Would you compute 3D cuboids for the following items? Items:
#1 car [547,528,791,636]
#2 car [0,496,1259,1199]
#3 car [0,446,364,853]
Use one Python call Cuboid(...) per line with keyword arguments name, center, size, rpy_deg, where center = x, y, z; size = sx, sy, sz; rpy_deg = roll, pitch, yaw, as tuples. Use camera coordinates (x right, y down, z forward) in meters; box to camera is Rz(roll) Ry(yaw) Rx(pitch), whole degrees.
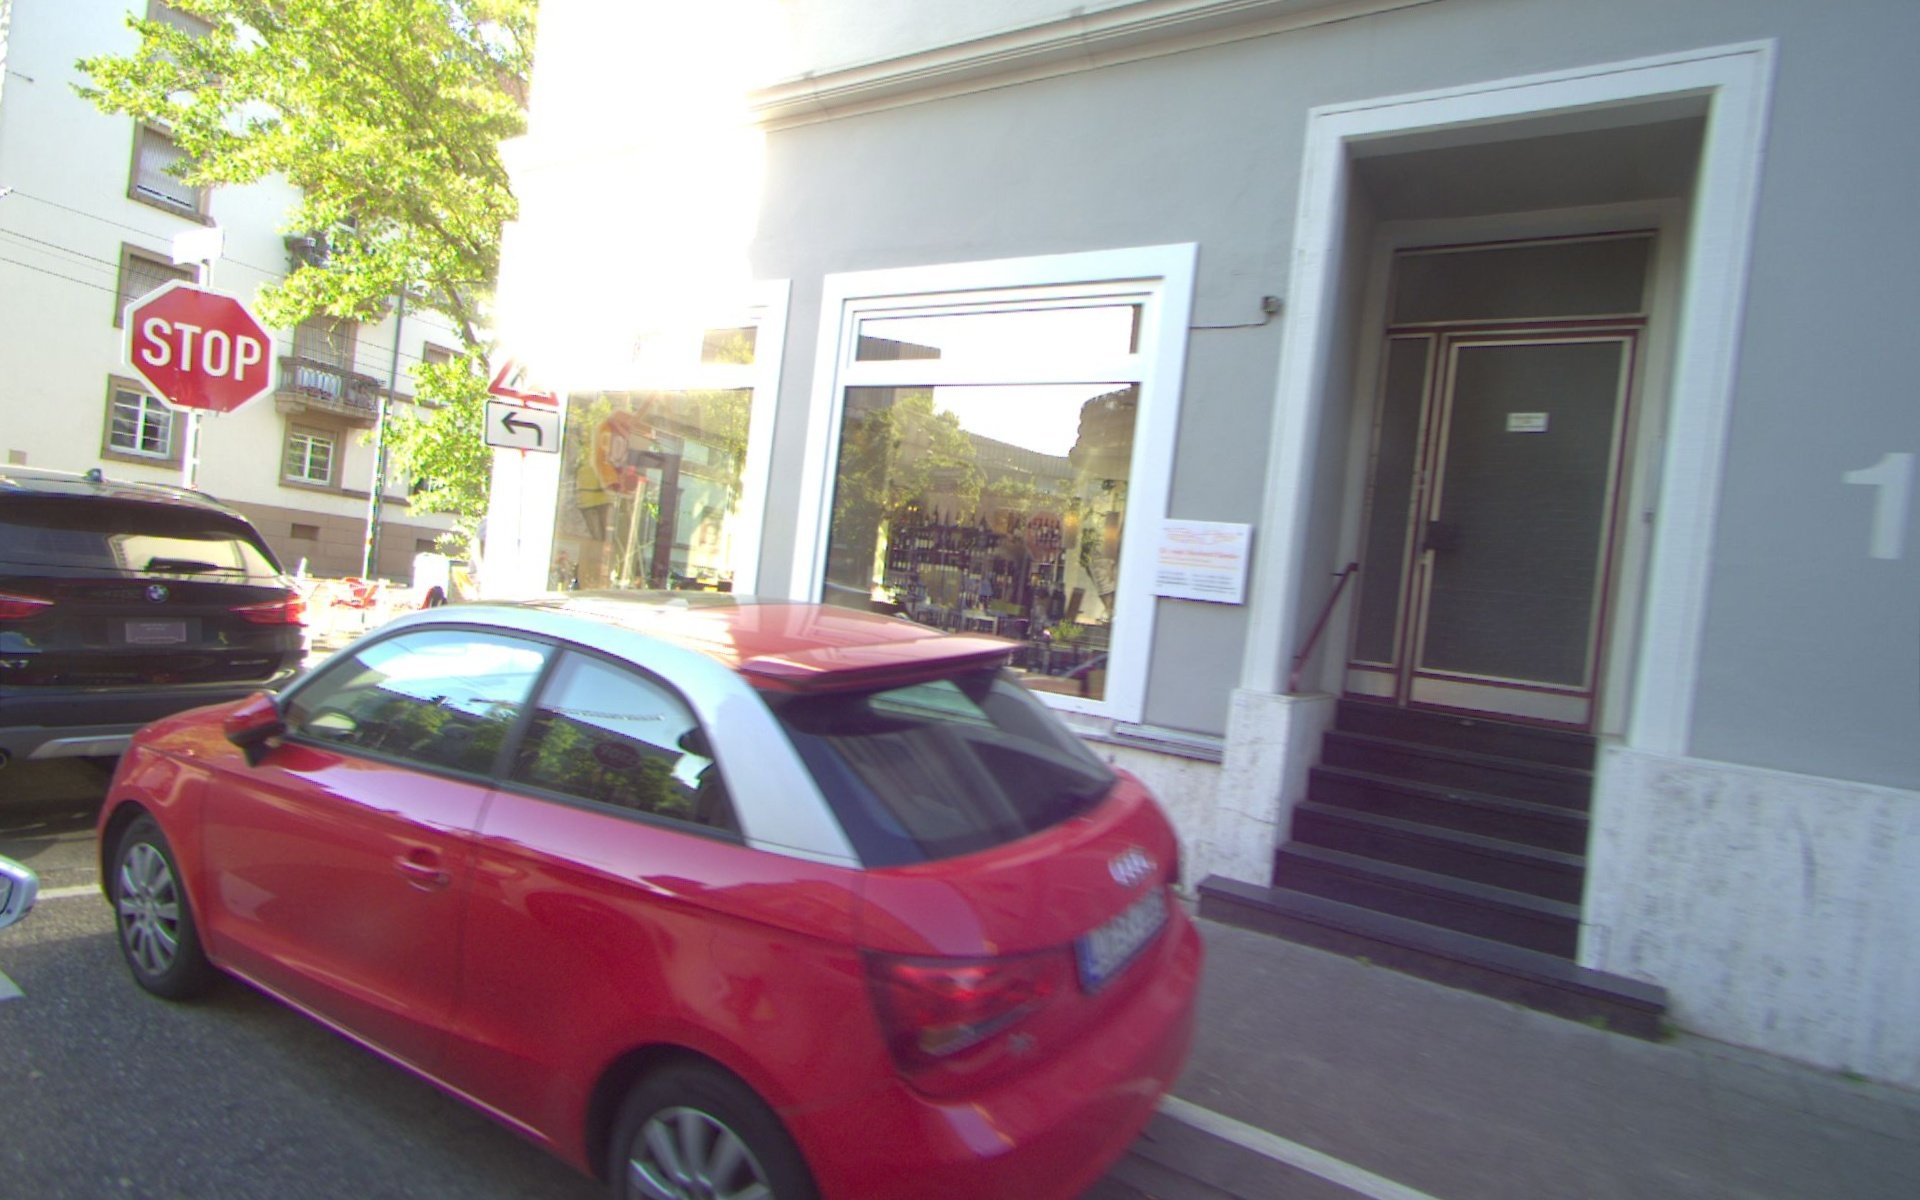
Cuboid(name="car", center=(-5.454, -0.331, 19.161), size=(4.058, 1.576, 1.619), rpy_deg=(5, 1, 1))
Cuboid(name="car", center=(-1.267, 0.669, 3.282), size=(3.888, 1.520, 1.649), rpy_deg=(7, -1, 30))
Cuboid(name="car", center=(-5.471, 0.048, 5.622), size=(4.126, 1.682, 1.764), rpy_deg=(7, -1, 30))
